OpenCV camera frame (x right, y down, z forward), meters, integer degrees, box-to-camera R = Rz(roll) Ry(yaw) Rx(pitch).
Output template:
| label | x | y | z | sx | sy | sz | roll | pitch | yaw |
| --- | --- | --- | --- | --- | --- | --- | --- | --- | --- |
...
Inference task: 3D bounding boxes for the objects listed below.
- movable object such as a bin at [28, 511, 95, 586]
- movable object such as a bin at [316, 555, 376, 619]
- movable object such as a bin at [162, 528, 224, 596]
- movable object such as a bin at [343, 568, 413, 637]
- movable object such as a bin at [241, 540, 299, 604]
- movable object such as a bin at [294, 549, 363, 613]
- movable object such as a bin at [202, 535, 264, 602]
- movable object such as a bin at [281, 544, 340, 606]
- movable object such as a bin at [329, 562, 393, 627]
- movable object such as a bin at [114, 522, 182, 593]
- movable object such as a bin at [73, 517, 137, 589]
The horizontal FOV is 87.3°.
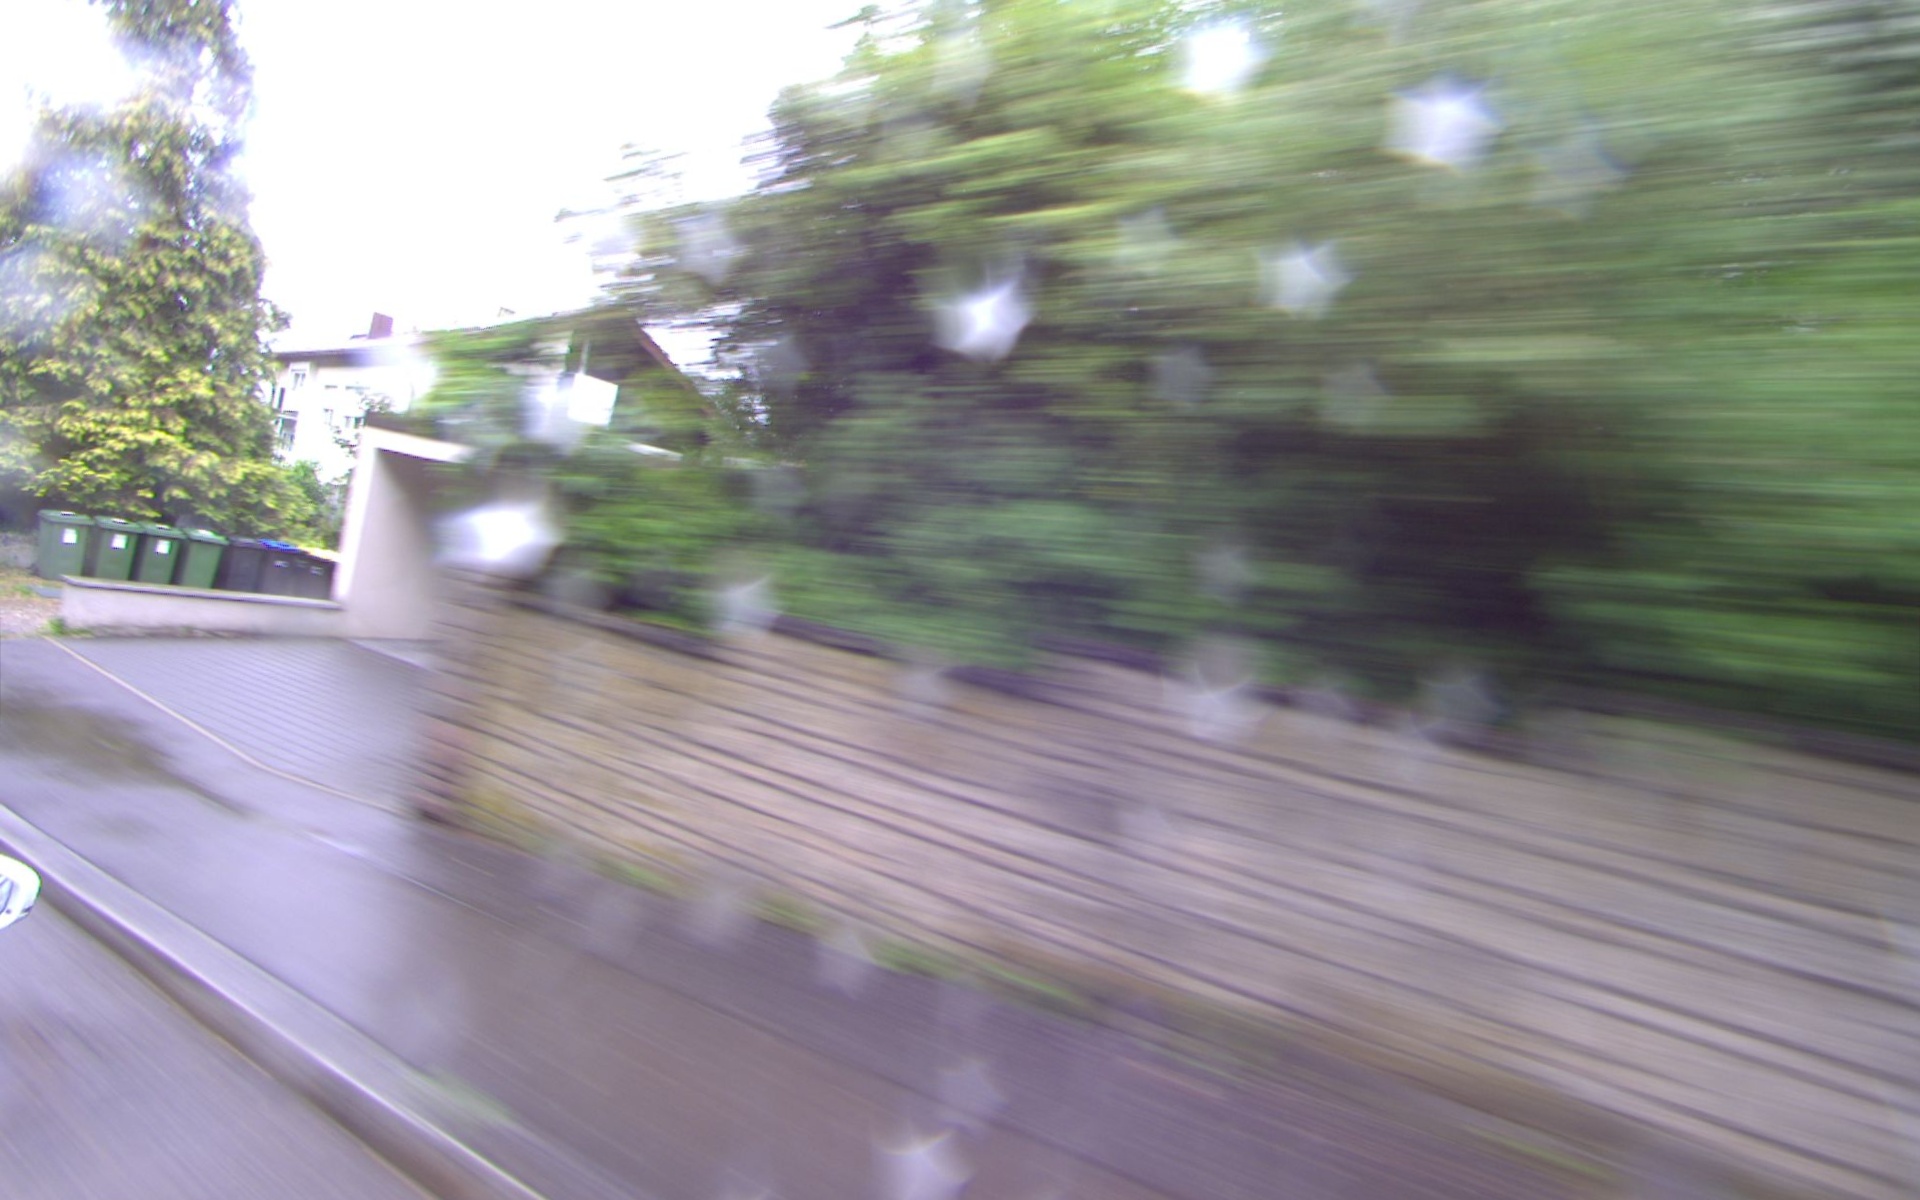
| label | x | y | z | sx | sy | sz | roll | pitch | yaw |
| --- | --- | --- | --- | --- | --- | --- | --- | --- | --- |
| movable object such as a bin | -14.336 | -0.820 | 16.051 | 0.690 | 1.080 | 0.561 | 7 | 0 | 33 |
| movable object such as a bin | -11.452 | -0.237 | 18.766 | 0.573 | 1.081 | 0.699 | 13 | 6 | 32 |
| movable object such as a bin | -13.469 | -0.669 | 17.664 | 0.690 | 1.080 | 0.582 | 7 | 0 | 32 |
| movable object such as a bin | -10.392 | 0.050 | 17.976 | 0.697 | 1.081 | 0.763 | 13 | 6 | 32 |
| movable object such as a bin | -12.823 | -0.519 | 18.705 | 0.690 | 1.080 | 0.582 | 7 | 0 | 32 |
| movable object such as a bin | -12.011 | -0.358 | 19.125 | 0.697 | 1.081 | 0.814 | 13 | 6 | 32 |
| movable object such as a bin | -13.122 | -0.571 | 18.163 | 0.690 | 1.099 | 0.602 | 7 | 0 | 32 |
| movable object such as a bin | -12.590 | -0.479 | 19.508 | 0.573 | 1.081 | 0.699 | 13 | 6 | 32 |
| movable object such as a bin | -10.958 | -0.099 | 18.414 | 0.573 | 1.078 | 0.741 | 13 | 6 | 32 |
| movable object such as a bin | -13.737 | -0.722 | 17.026 | 0.690 | 1.080 | 0.627 | 7 | 0 | 32 |
| movable object such as a bin | -14.046 | -0.774 | 16.522 | 0.680 | 1.080 | 0.546 | 7 | 0 | 32 |
